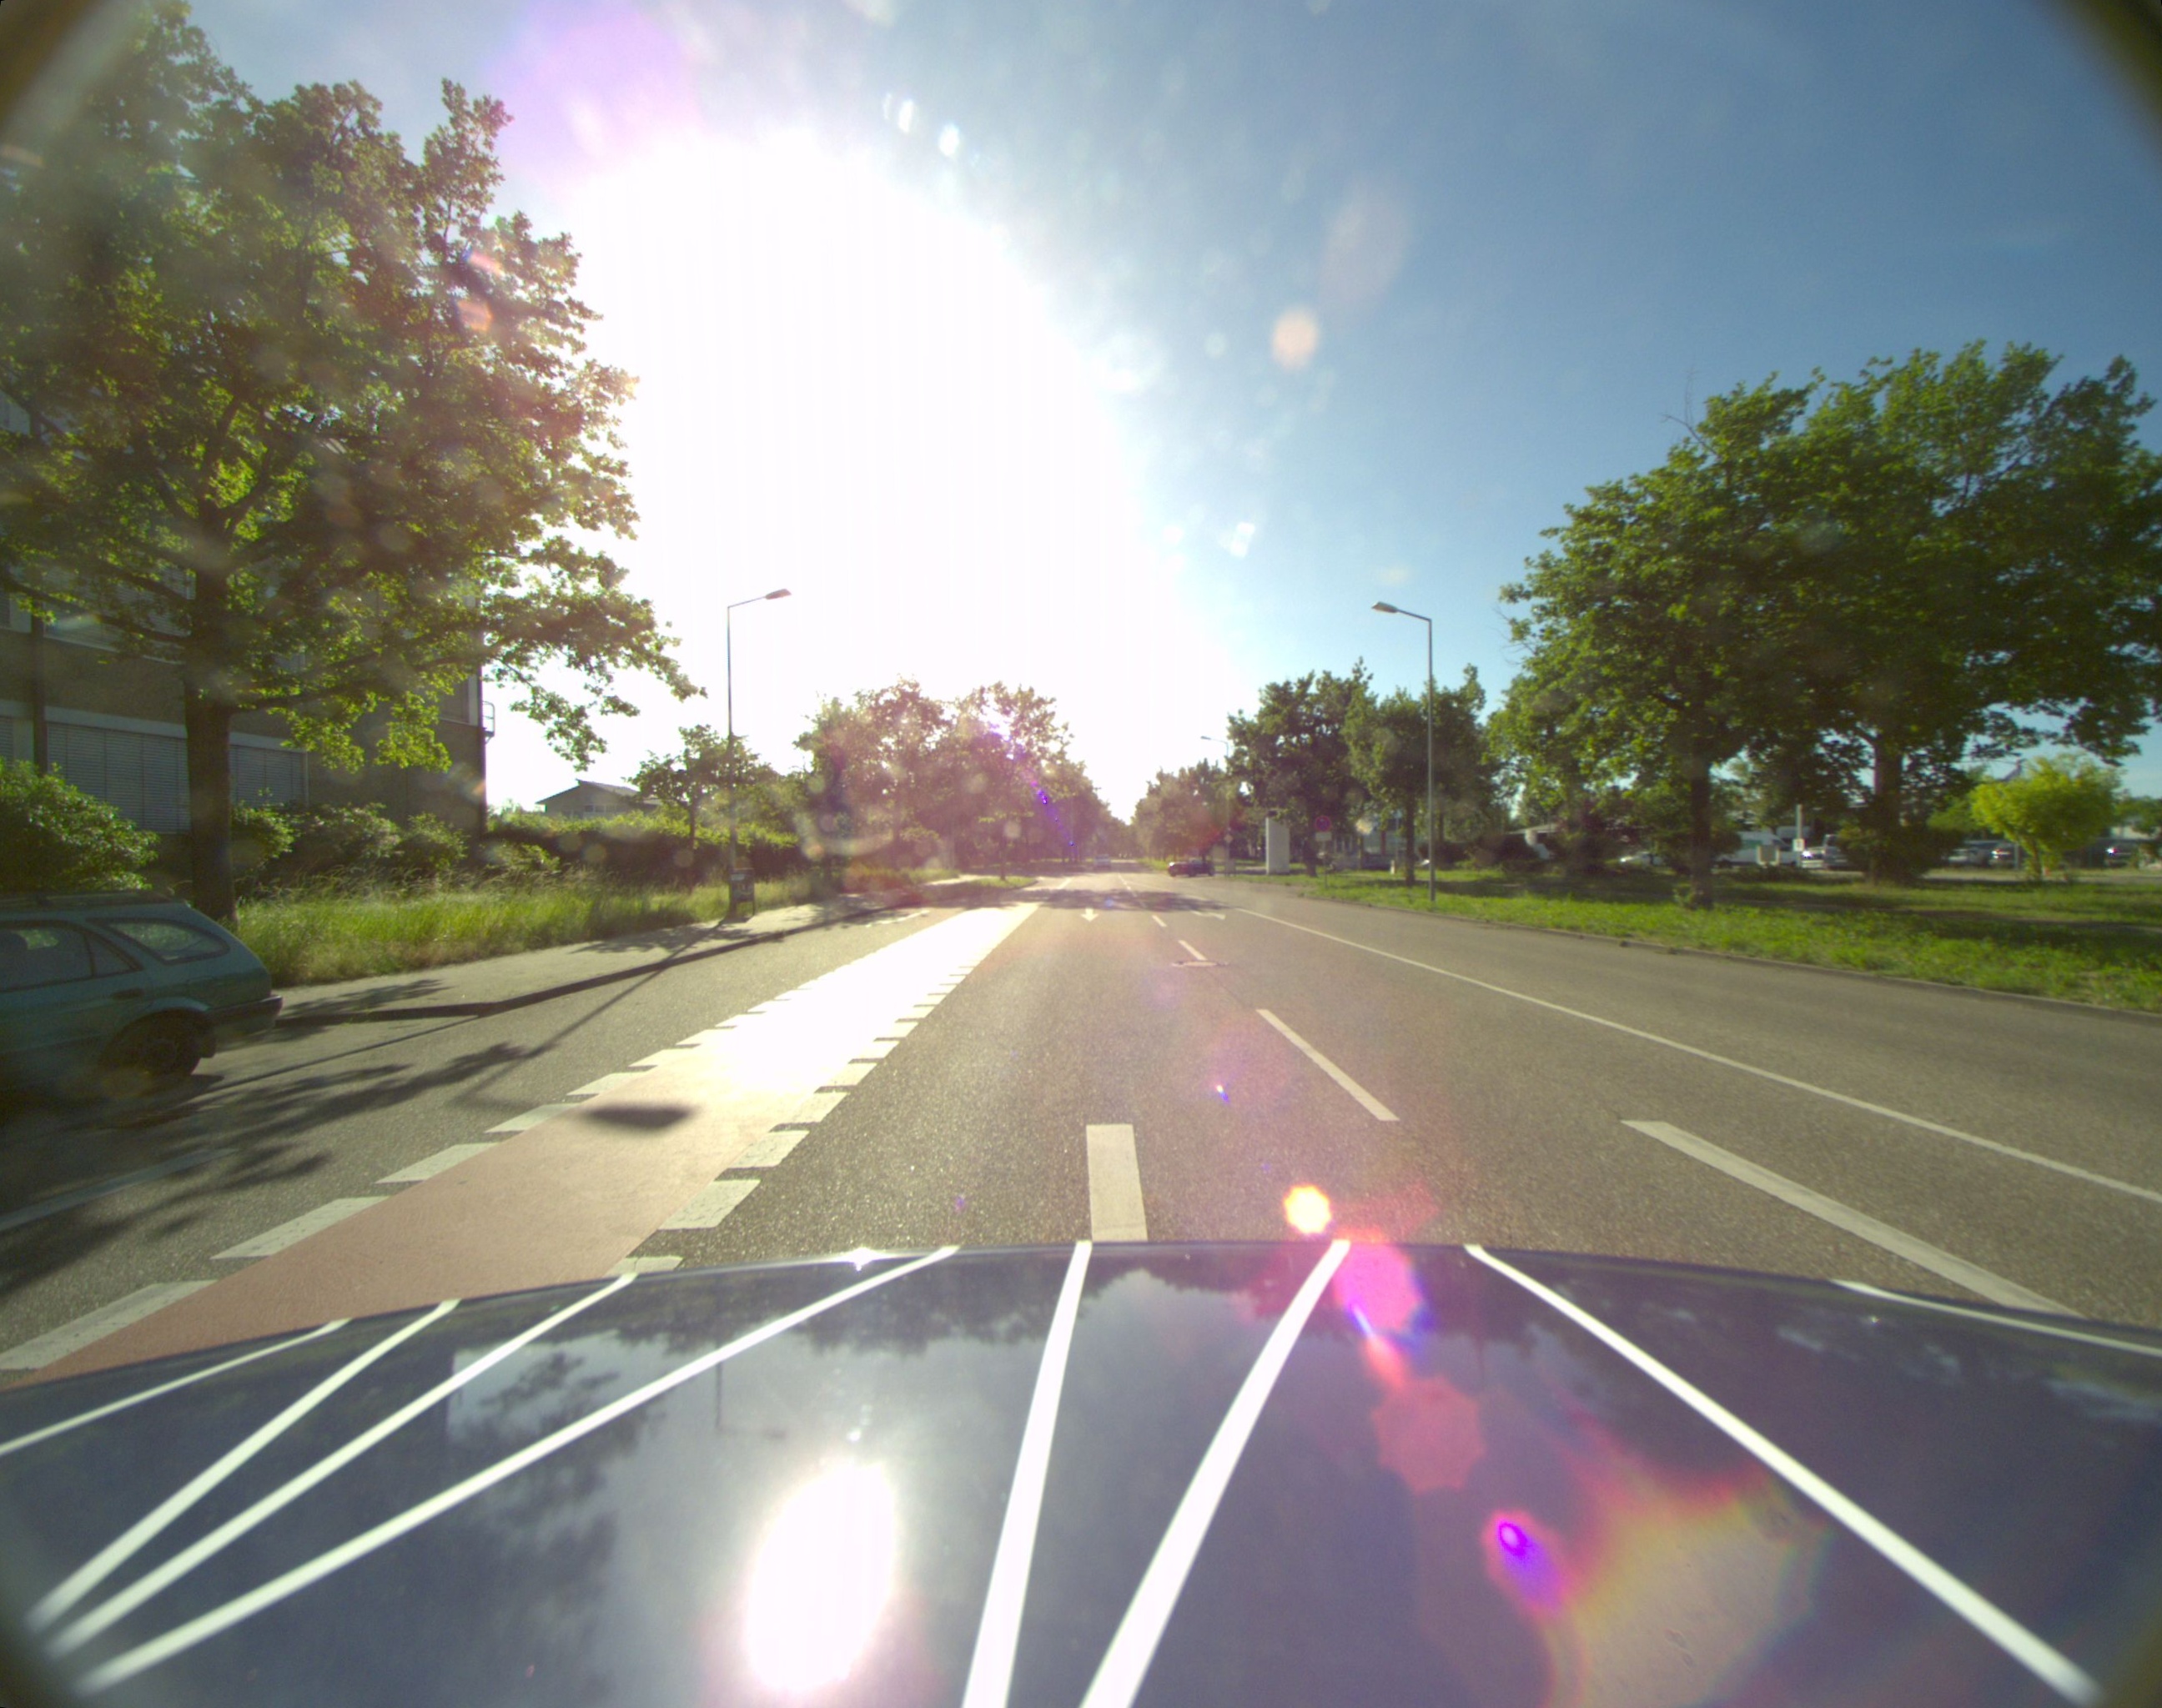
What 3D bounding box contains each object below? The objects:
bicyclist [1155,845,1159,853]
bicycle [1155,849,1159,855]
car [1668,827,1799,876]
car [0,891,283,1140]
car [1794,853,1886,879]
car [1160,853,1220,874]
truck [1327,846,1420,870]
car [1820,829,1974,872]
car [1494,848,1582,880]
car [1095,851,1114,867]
[{"bbox_3d":[15.487,-1.057,154.570,0.665,1.620,0.659,-2,2,3],"label":"bicyclist"},{"bbox_3d":[15.520,-0.479,154.723,0.552,1.155,2.334,-2,1,3],"label":"bicycle"},{"bbox_3d":[39.615,-0.187,46.206,6.176,2.687,2.300,-2,1,-3],"label":"car"},{"bbox_3d":[-7.464,1.053,4.202,1.596,1.420,4.203,1,1,2],"label":"car"},{"bbox_3d":[41.217,0.633,41.290,3.532,1.294,1.574,-1,1,-2],"label":"car"},{"bbox_3d":[8.072,0.726,55.981,1.994,1.395,4.598,2,0,43],"label":"car"},{"bbox_3d":[25.115,0.344,65.379,7.130,2.038,2.140,0,1,-2],"label":"truck"},{"bbox_3d":[40.671,-0.190,37.963,5.424,2.058,2.300,-1,1,-3],"label":"car"},{"bbox_3d":[39.909,0.869,66.423,6.356,2.501,2.300,-2,1,-3],"label":"car"},{"bbox_3d":[2.378,0.526,78.812,1.827,1.477,3.999,-2,1,1],"label":"car"}]
